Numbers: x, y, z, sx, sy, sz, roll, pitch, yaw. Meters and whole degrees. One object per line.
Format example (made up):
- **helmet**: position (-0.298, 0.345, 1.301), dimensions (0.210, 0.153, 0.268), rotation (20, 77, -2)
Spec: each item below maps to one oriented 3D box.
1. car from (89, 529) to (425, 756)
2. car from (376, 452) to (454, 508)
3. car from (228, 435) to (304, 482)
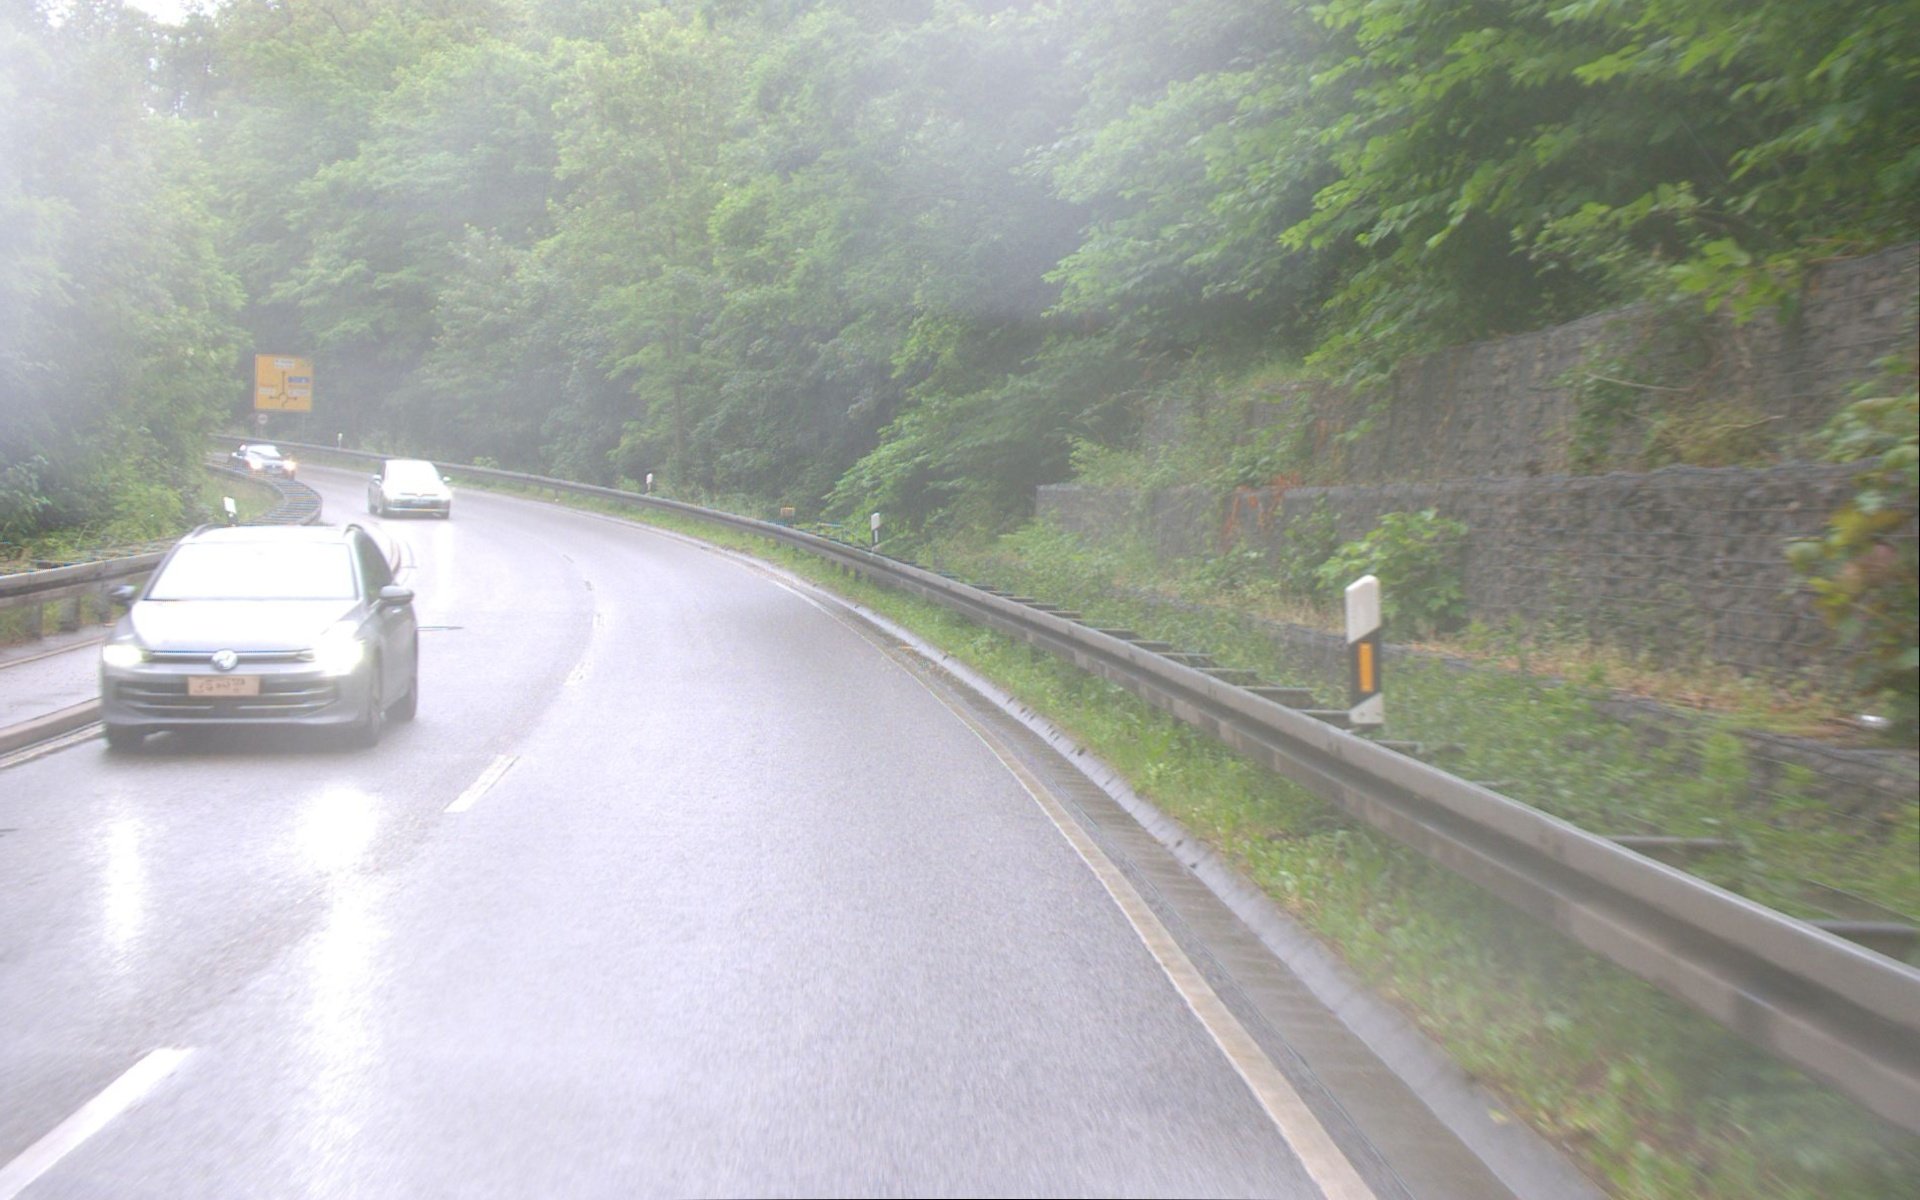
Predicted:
- **car**: position (-4.741, 0.231, 23.687), dimensions (1.814, 1.429, 4.001), rotation (0, 1, -5)
- **car**: position (-14.459, -3.167, 91.079), dimensions (1.594, 1.405, 3.427), rotation (0, 1, -17)
- **car**: position (-22.990, -4.673, 113.811), dimensions (1.794, 1.405, 4.001), rotation (0, 1, -22)
